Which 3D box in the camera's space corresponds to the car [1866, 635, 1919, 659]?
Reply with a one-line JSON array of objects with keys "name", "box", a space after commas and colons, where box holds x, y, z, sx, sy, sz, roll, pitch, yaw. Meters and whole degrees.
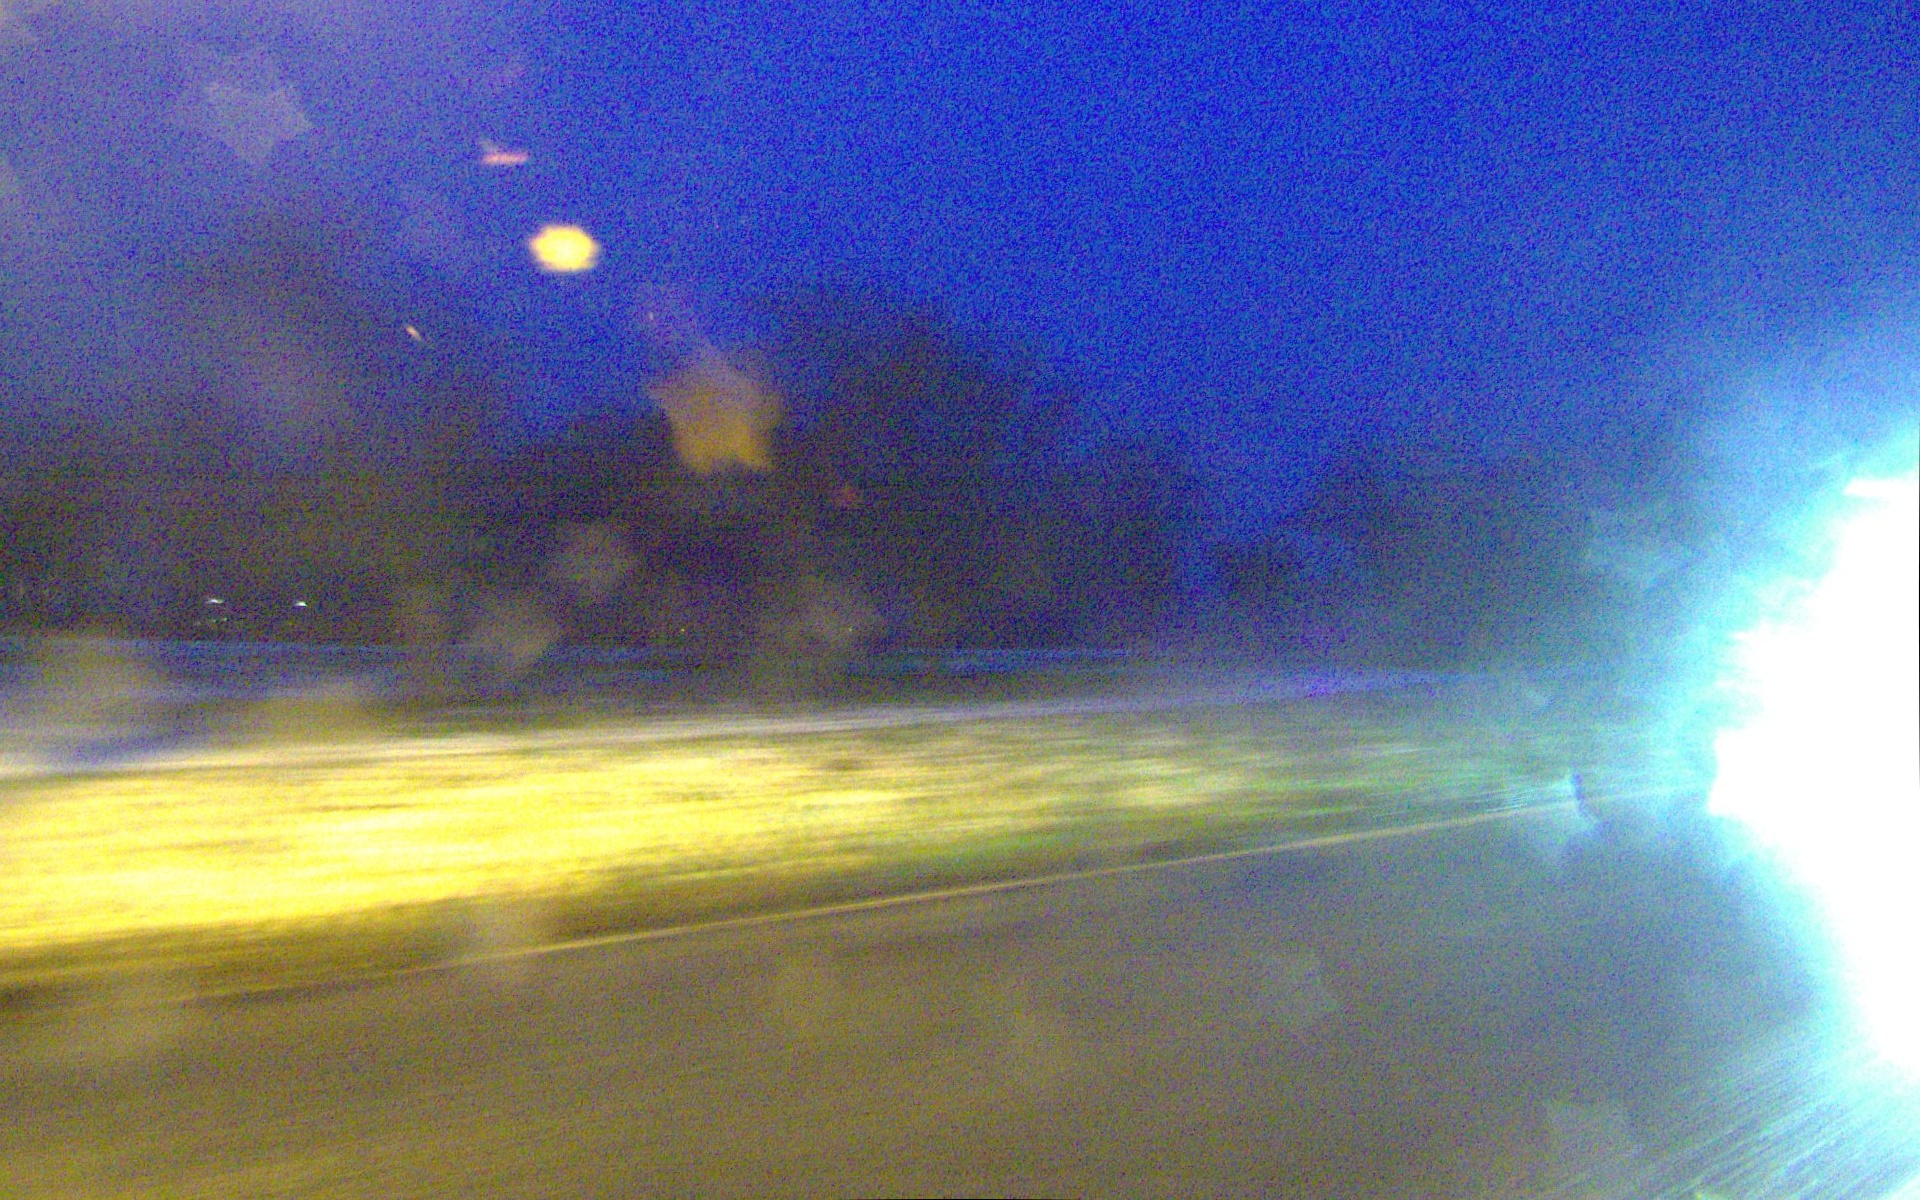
[{"name": "car", "box": [72.677, 3.612, 76.949, 4.857, 1.758, 1.989, 0, 0, 42]}]
